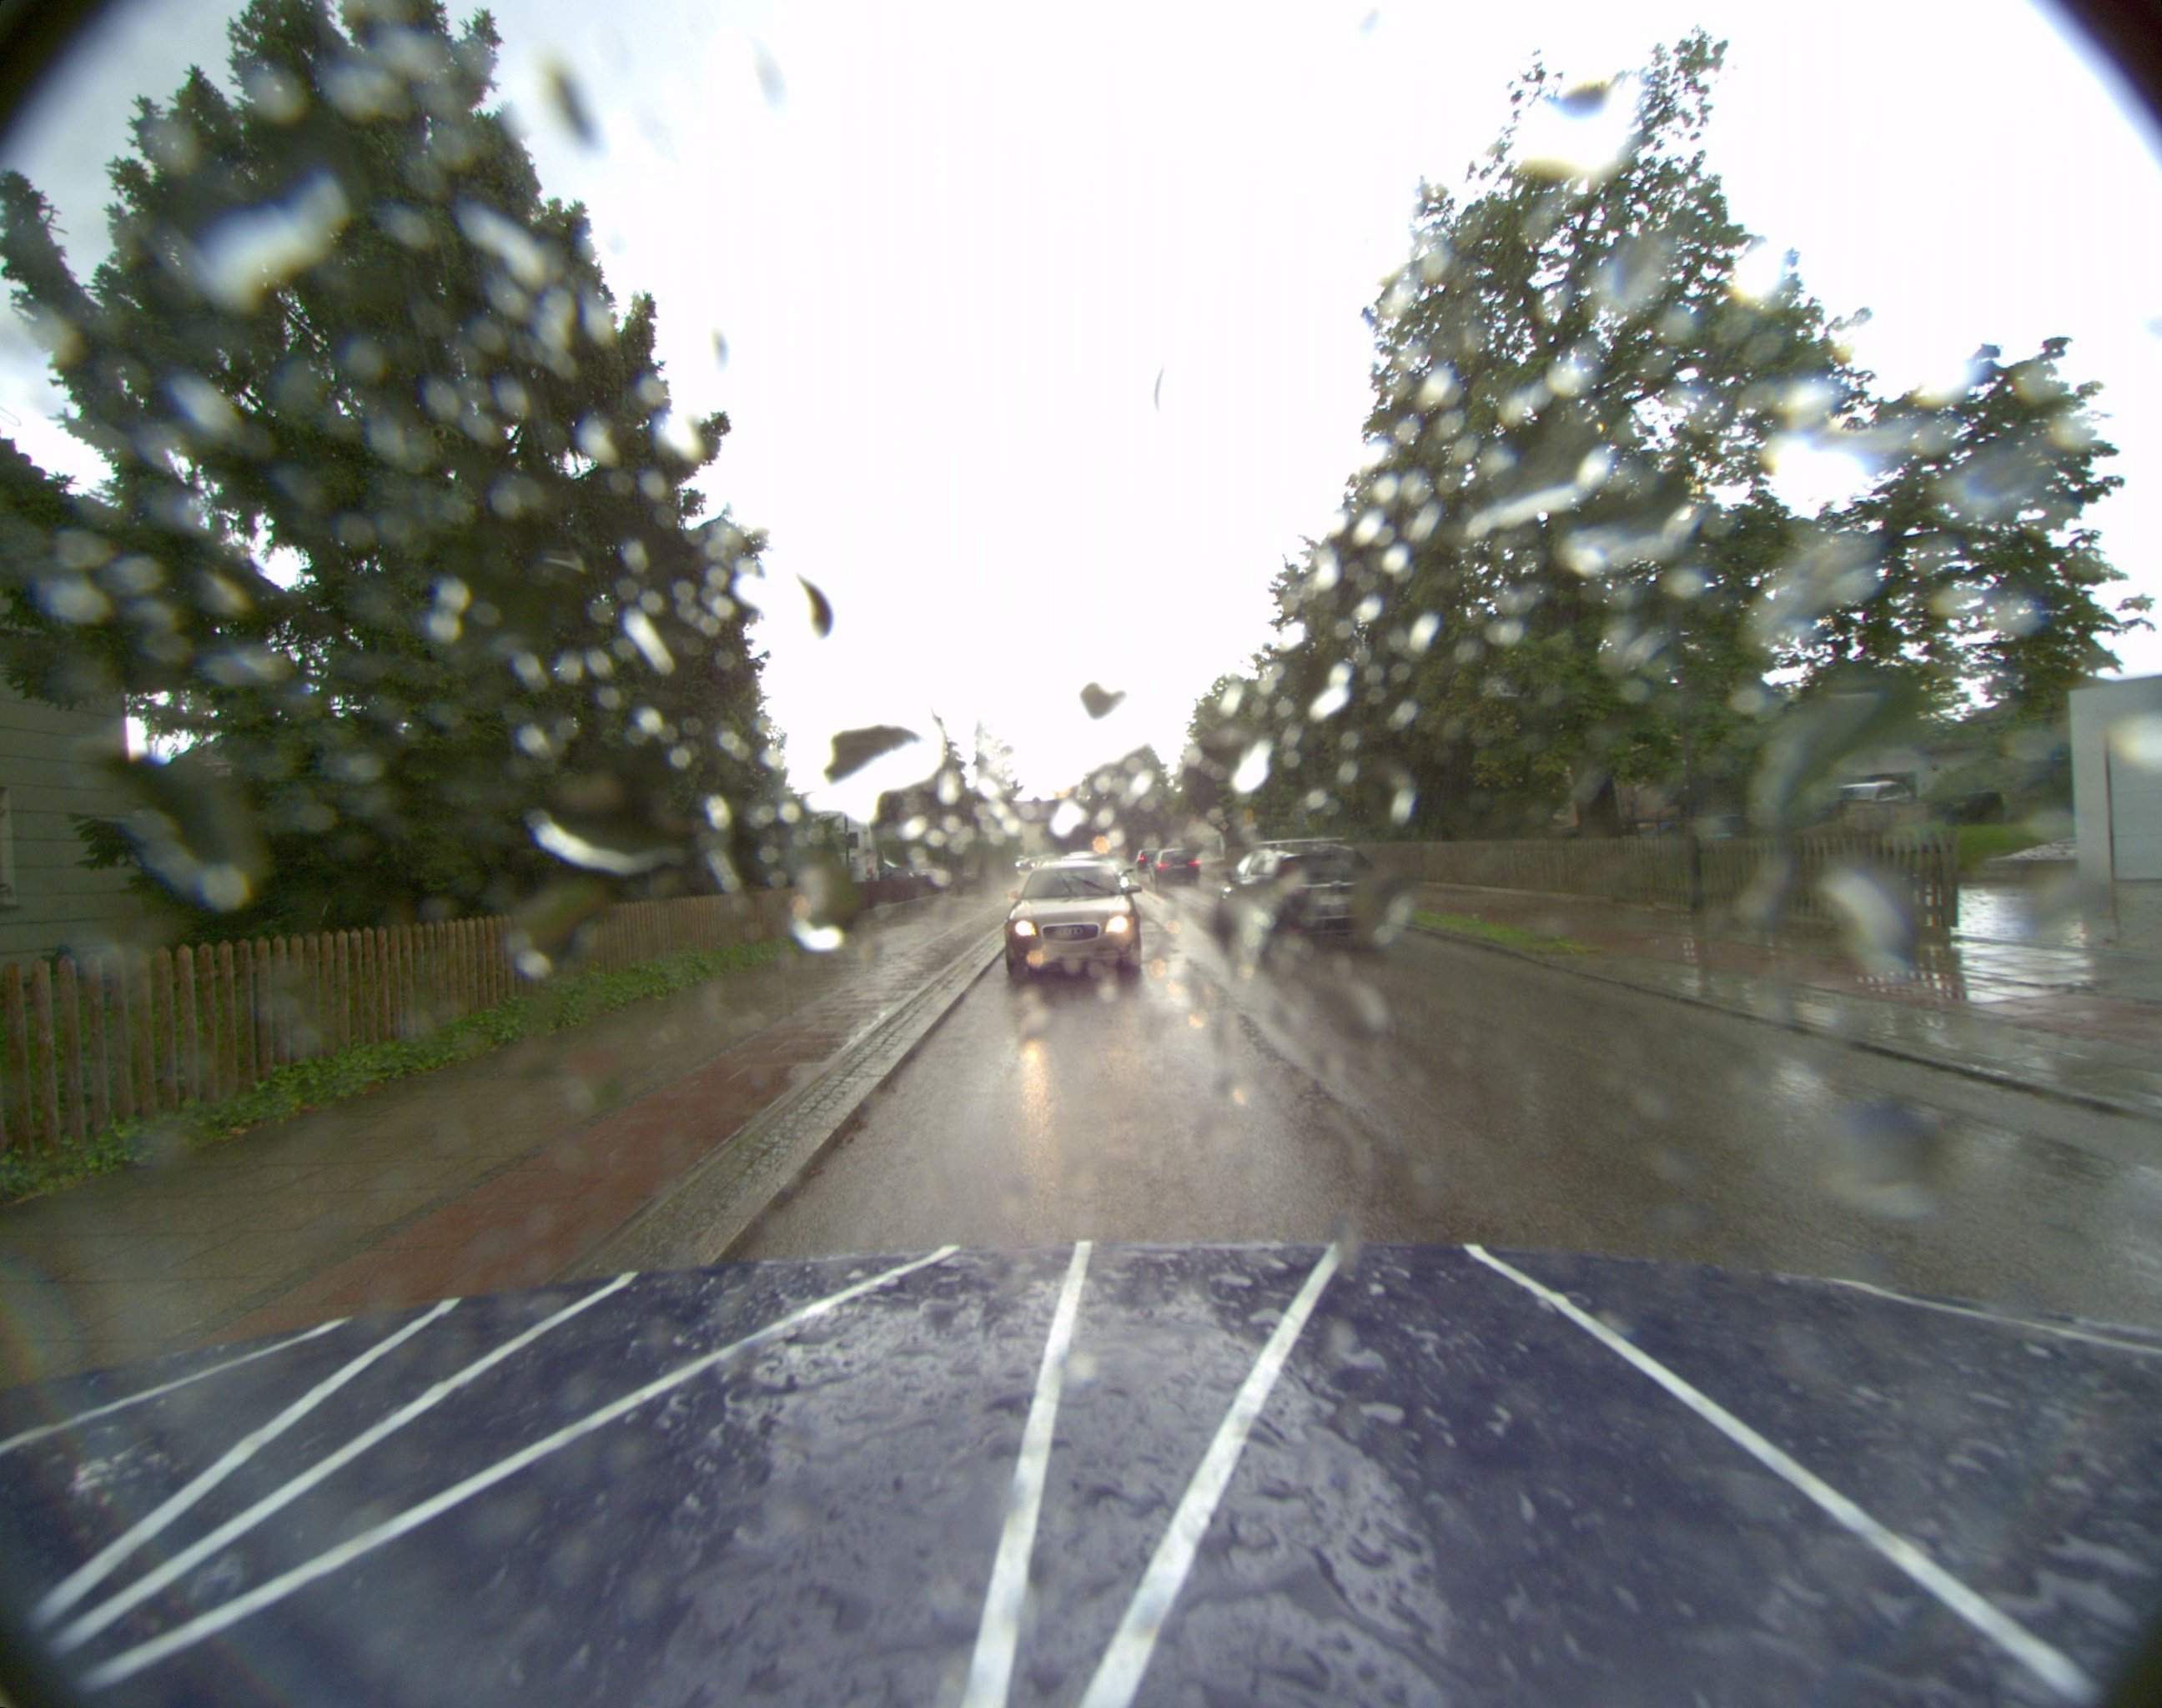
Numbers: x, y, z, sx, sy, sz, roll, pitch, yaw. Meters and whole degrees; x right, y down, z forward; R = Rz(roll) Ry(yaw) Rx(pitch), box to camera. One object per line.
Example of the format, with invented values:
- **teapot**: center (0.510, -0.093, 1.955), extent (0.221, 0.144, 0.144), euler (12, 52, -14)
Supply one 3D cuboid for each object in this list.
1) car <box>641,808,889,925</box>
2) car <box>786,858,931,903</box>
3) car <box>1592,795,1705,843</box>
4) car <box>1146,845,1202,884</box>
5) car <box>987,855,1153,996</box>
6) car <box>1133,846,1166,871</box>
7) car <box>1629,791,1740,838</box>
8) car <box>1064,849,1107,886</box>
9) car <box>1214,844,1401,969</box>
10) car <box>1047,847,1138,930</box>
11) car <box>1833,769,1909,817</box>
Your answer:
- **car**: center (-7.628, 0.274, 18.887), extent (5.321, 2.712, 1.998), euler (0, 1, -9)
- **car**: center (-7.383, 0.851, 25.579), extent (4.443, 1.413, 1.829), euler (0, 1, -7)
- **car**: center (26.129, -1.577, 35.078), extent (1.845, 1.792, 3.649), euler (-6, 0, -33)
- **car**: center (3.931, 0.407, 32.665), extent (1.785, 1.457, 4.374), euler (-4, 1, 0)
- **car**: center (-0.104, 0.837, 10.958), extent (1.872, 1.512, 4.188), euler (-3, 1, 1)
- **car**: center (4.411, 0.233, 49.332), extent (1.712, 1.457, 3.999), euler (-4, 1, 1)
- **car**: center (28.757, -1.834, 36.309), extent (1.845, 1.792, 3.649), euler (-6, 0, -33)
- **car**: center (0.232, 0.613, 37.009), extent (1.872, 1.512, 4.960), euler (-5, 1, 1)
- **car**: center (3.264, 0.661, 11.827), extent (1.642, 1.512, 4.188), euler (-3, 0, 1)
- **car**: center (0.278, 0.739, 19.068), extent (1.872, 1.603, 4.960), euler (-5, 1, 1)
- **car**: center (40.685, -3.115, 39.111), extent (3.857, 2.281, 1.782), euler (-3, 1, -29)
